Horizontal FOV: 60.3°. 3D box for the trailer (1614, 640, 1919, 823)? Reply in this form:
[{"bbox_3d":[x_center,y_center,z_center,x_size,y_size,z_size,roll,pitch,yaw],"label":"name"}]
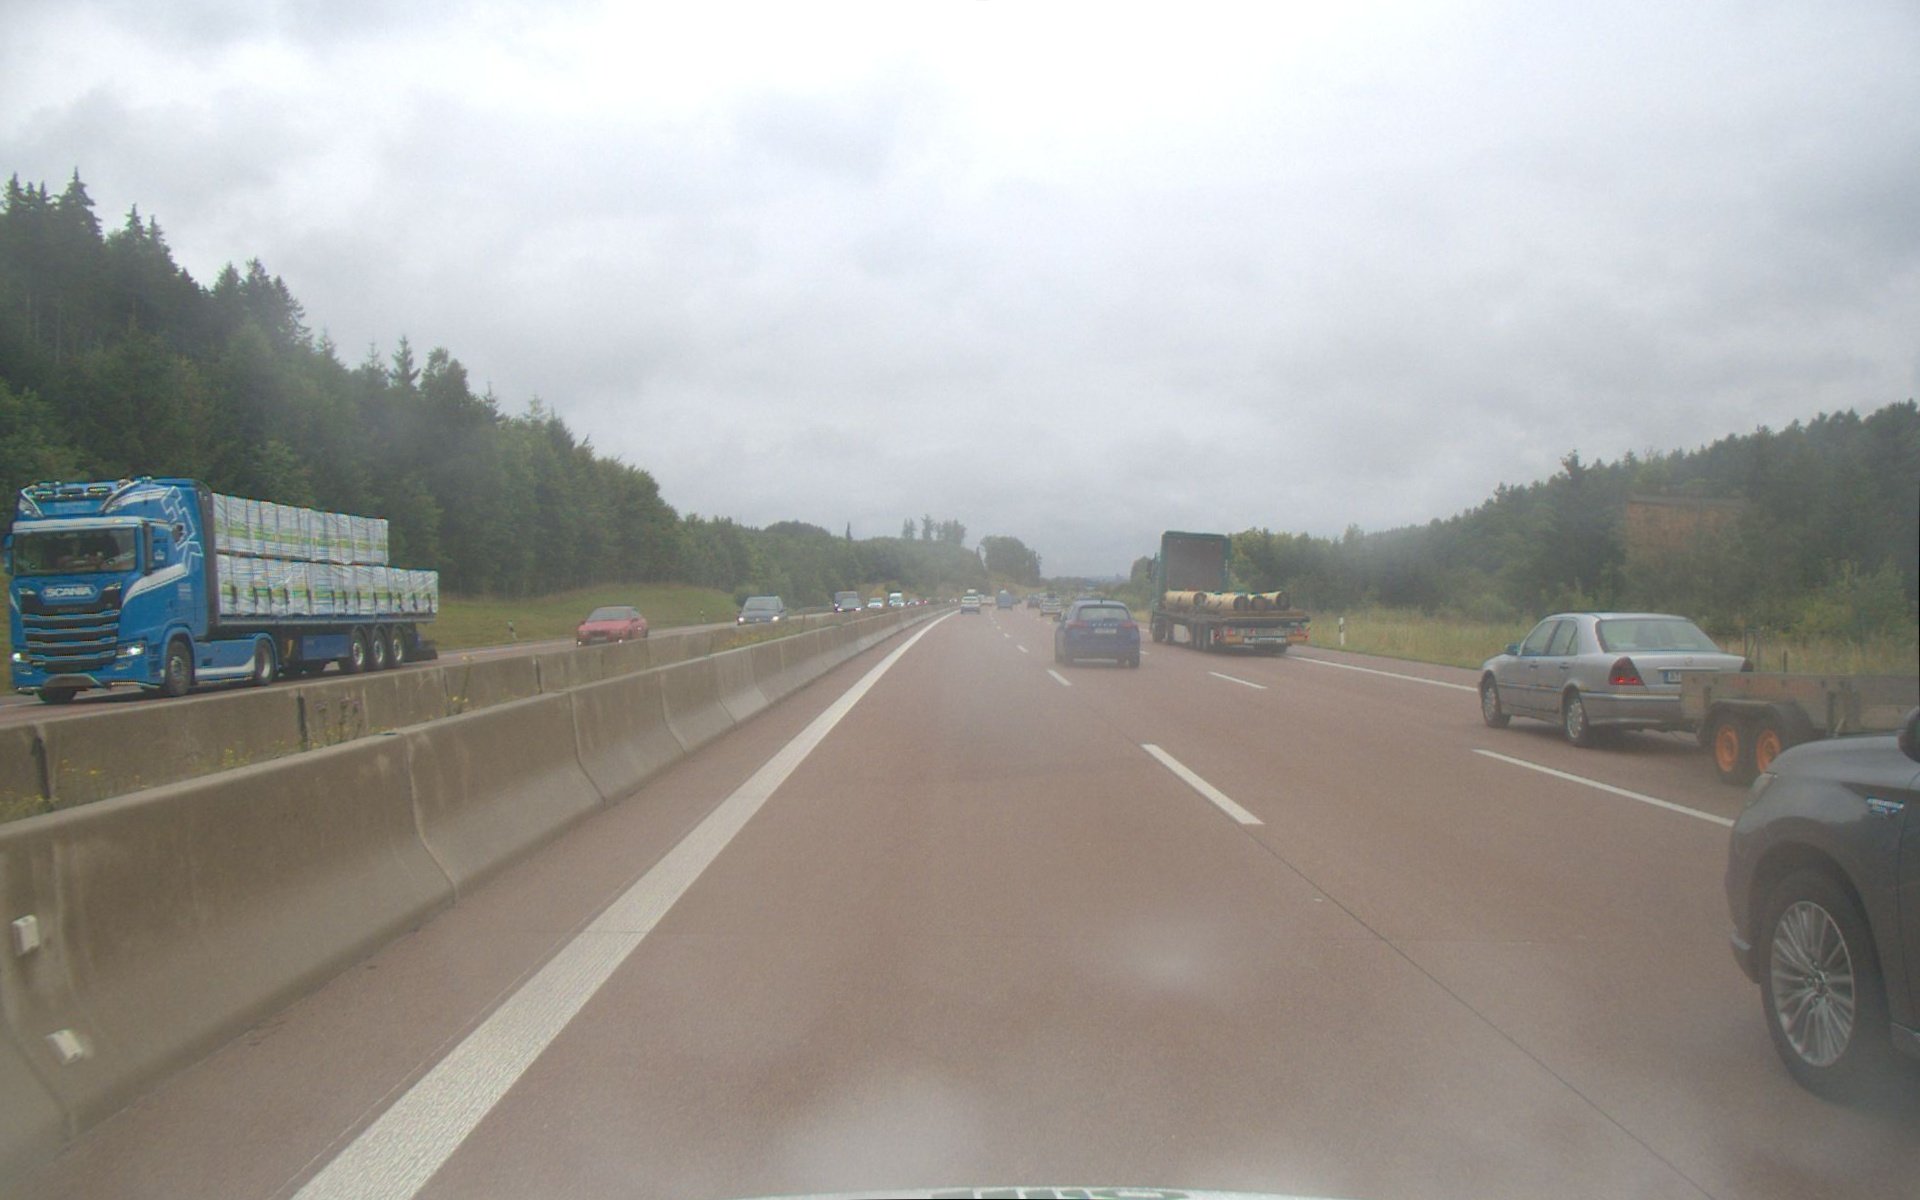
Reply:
[{"bbox_3d":[7.544,1.025,14.340,1.931,1.187,4.639,1,0,0],"label":"trailer"}]

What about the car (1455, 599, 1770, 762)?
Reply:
[{"bbox_3d":[7.315,0.845,19.145,1.663,1.640,4.976,0,-1,0],"label":"car"}]

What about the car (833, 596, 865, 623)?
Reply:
[{"bbox_3d":[-8.129,0.722,121.439,1.739,1.889,5.322,1,-1,2],"label":"car"}]

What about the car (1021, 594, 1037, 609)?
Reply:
[{"bbox_3d":[9.529,0.204,228.604,1.952,2.049,4.000,1,-1,0],"label":"car"}]

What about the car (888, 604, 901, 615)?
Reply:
[{"bbox_3d":[-9.454,1.325,239.551,1.616,1.414,4.810,-3,0,0],"label":"car"}]

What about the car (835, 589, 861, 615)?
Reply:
[{"bbox_3d":[-10.639,0.224,157.142,2.059,2.319,5.394,1,-1,0],"label":"car"}]

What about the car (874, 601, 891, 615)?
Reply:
[{"bbox_3d":[-9.299,0.914,199.318,1.752,1.584,4.865,-2,0,0],"label":"car"}]

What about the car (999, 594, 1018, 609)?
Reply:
[{"bbox_3d":[6.047,0.160,205.327,2.275,1.780,4.877,1,-1,1],"label":"car"}]

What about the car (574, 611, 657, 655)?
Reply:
[{"bbox_3d":[-11.608,1.122,55.977,1.781,1.393,5.113,1,-1,-1],"label":"car"}]

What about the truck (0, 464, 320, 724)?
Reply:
[{"bbox_3d":[-15.733,-0.169,32.837,2.904,4.395,7.648,-4,1,-1],"label":"truck"}]

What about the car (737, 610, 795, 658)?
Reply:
[{"bbox_3d":[-8.113,1.427,69.696,1.781,1.874,6.236,1,-1,-1],"label":"car"}]

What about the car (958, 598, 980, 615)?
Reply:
[{"bbox_3d":[0.807,0.634,154.577,1.836,1.470,4.875,1,-1,-2],"label":"car"}]

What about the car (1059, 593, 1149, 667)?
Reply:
[{"bbox_3d":[3.252,0.694,38.090,1.735,1.591,4.146,1,-1,1],"label":"car"}]

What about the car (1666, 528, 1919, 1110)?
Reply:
[{"bbox_3d":[3.665,0.603,3.347,1.953,1.620,5.819,1,-1,0],"label":"car"}]

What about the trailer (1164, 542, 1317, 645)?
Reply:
[{"bbox_3d":[8.303,-0.078,50.474,2.822,2.722,11.398,1,-1,1],"label":"trailer"}]

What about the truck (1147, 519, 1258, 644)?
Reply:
[{"bbox_3d":[8.379,-0.548,57.970,2.837,4.034,6.988,1,-1,0],"label":"truck"}]

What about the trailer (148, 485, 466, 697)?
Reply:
[{"bbox_3d":[-15.890,-0.272,41.823,2.874,4.349,12.943,-4,1,-1],"label":"trailer"}]

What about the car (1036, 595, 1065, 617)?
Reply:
[{"bbox_3d":[7.809,0.543,142.985,2.275,1.780,4.877,1,-1,1],"label":"car"}]
